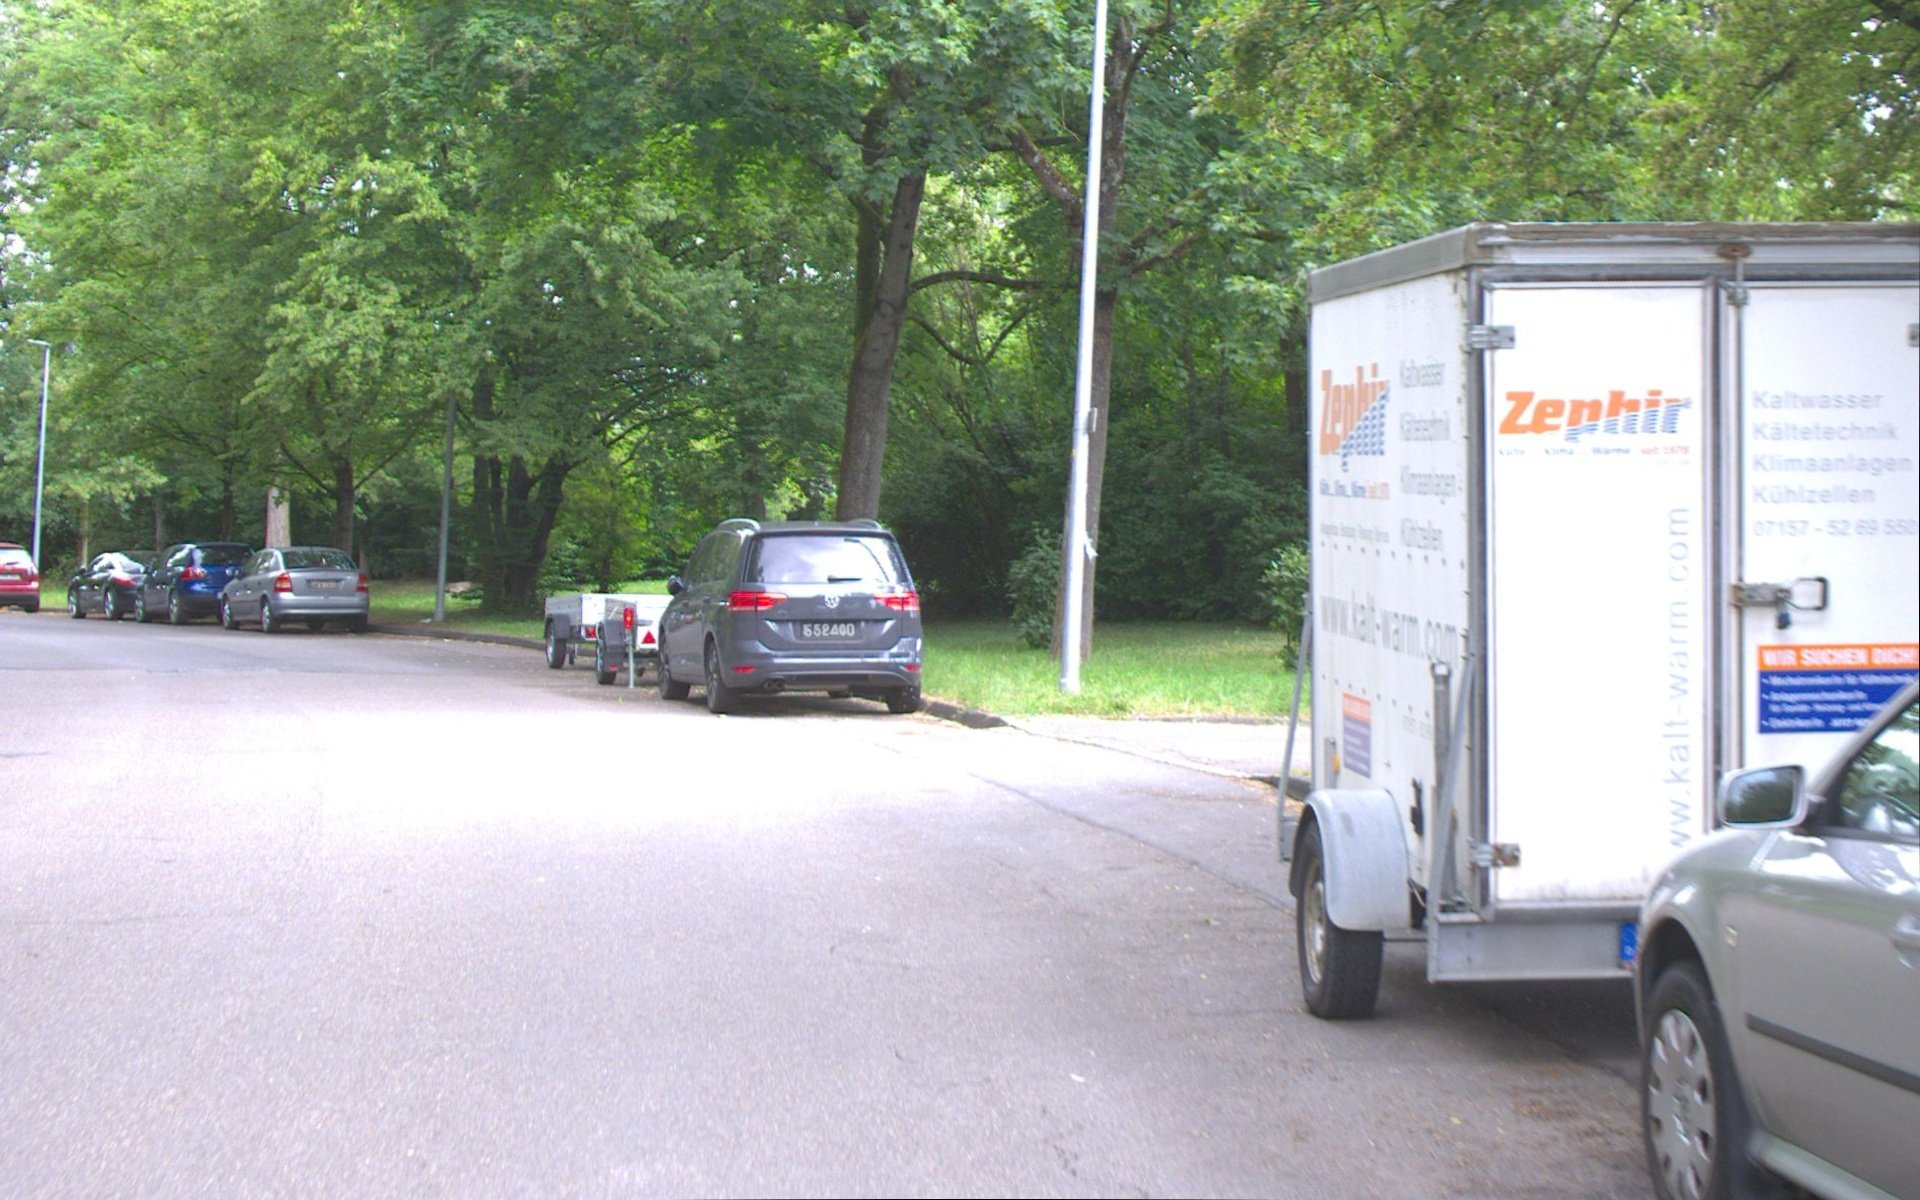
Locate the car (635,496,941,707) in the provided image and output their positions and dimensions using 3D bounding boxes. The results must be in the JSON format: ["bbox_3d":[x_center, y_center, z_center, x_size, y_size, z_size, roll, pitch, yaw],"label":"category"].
[{"bbox_3d":[-1.610,-0.023,30.323,1.775,1.657,4.842,2,0,-13],"label":"car"}]

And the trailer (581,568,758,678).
[{"bbox_3d":[-3.105,0.213,36.250,1.357,0.965,3.894,2,1,-12],"label":"trailer"}]

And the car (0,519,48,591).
[{"bbox_3d":[-21.955,-0.998,76.990,1.738,1.557,4.000,0,0,-34],"label":"car"}]

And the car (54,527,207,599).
[{"bbox_3d":[-16.383,-0.735,67.757,1.750,1.332,4.416,1,0,-30],"label":"car"}]

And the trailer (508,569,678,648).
[{"bbox_3d":[-4.397,0.098,40.873,1.363,0.845,3.279,2,-1,-17],"label":"trailer"}]

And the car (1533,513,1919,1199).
[{"bbox_3d":[2.467,0.612,5.998,1.741,1.520,4.637,0,1,-6],"label":"car"}]

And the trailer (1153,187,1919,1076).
[{"bbox_3d":[1.832,0.043,11.372,1.760,2.418,3.888,0,1,-6],"label":"trailer"}]

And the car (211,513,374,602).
[{"bbox_3d":[-11.180,-0.705,57.423,1.717,1.426,3.949,0,1,-26],"label":"car"}]

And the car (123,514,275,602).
[{"bbox_3d":[-14.108,-0.770,63.559,1.714,1.504,4.182,3,-1,-27],"label":"car"}]
